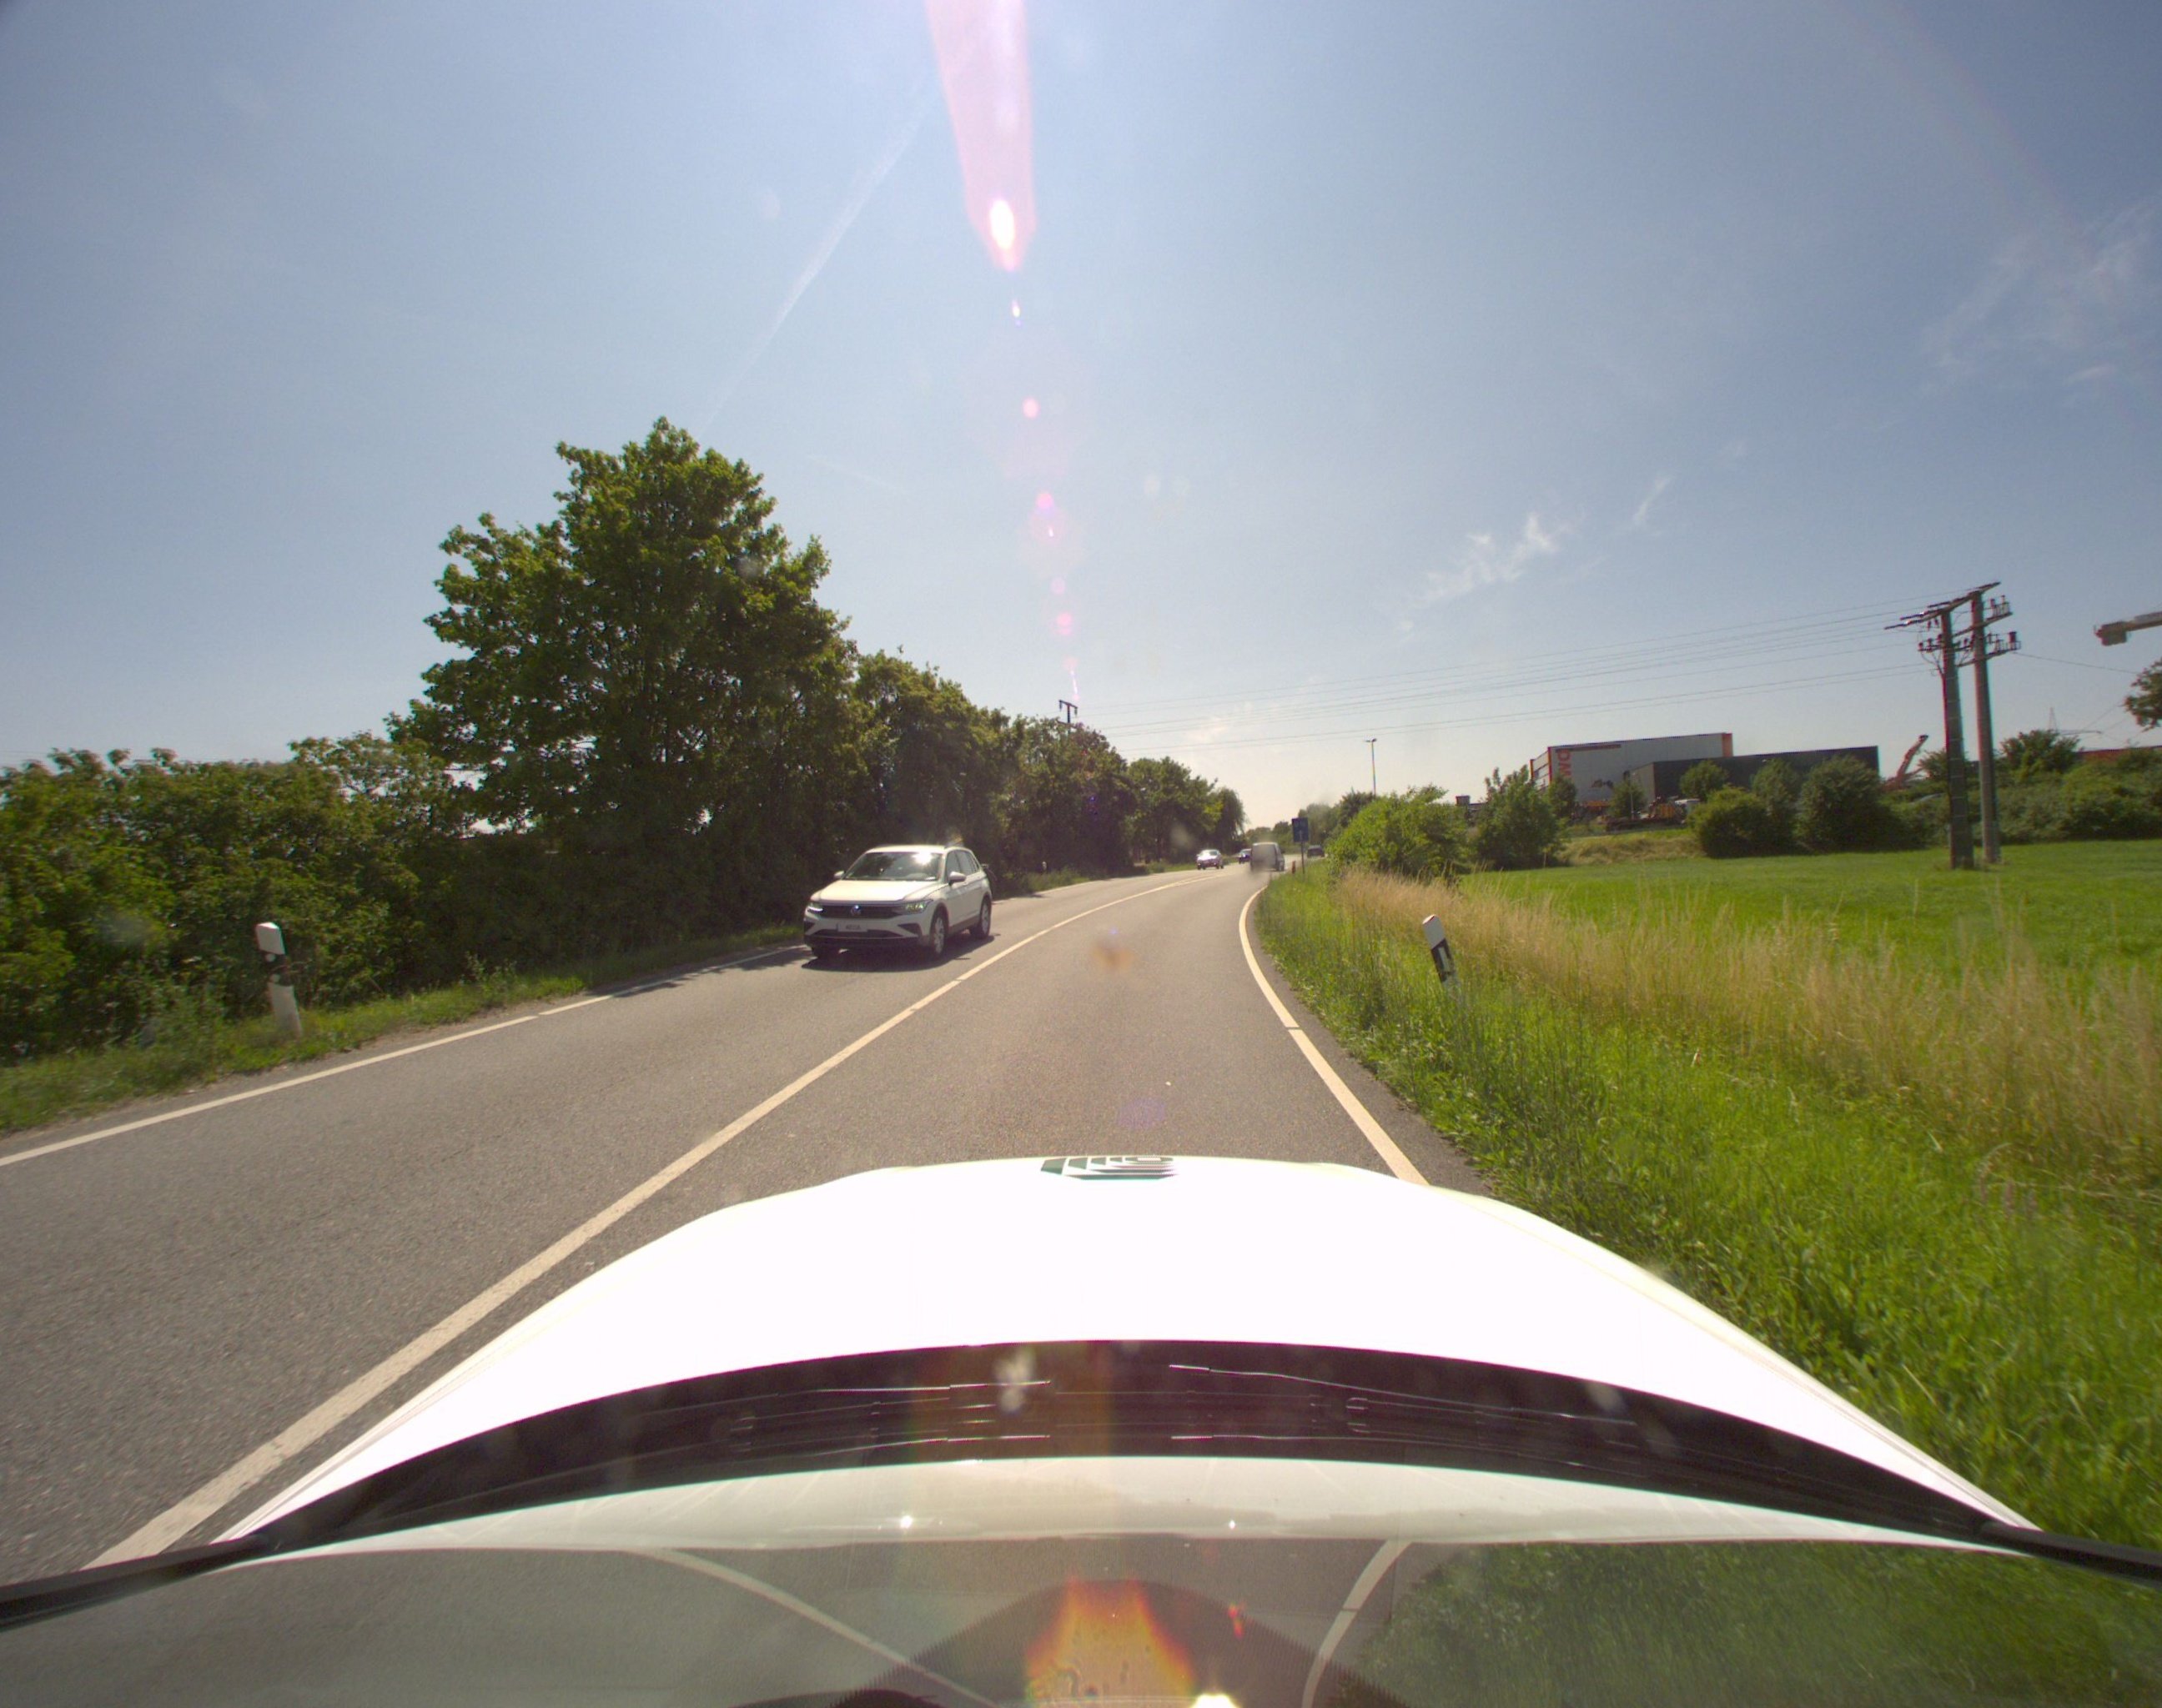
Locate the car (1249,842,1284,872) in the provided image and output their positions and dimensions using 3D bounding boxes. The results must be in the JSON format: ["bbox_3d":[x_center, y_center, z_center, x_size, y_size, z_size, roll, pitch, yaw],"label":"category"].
[{"bbox_3d":[11.579,0.172,50.670,1.889,1.732,3.838,-3,-1,16],"label":"car"}]

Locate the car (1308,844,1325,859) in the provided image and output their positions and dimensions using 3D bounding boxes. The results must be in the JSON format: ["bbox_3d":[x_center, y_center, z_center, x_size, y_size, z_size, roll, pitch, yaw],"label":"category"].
[{"bbox_3d":[28.871,-0.313,99.917,1.791,1.556,4.019,-3,1,18],"label":"car"}]

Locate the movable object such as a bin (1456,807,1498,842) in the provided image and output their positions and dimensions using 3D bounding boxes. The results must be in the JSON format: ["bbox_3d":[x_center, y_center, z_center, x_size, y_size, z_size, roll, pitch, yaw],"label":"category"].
[{"bbox_3d":[64.292,-4.729,132.387,5.667,5.270,3.238,-2,-2,21],"label":"movable object such as a bin"}]

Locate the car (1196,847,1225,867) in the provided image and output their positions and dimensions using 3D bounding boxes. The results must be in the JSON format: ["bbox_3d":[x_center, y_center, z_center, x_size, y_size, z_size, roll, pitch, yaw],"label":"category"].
[{"bbox_3d":[10.670,0.254,67.041,1.727,1.589,4.018,-1,0,18],"label":"car"}]

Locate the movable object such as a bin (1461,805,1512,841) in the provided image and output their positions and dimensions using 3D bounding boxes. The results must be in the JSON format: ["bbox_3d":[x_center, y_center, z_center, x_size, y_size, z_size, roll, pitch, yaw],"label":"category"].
[{"bbox_3d":[61.590,-4.650,123.797,6.534,5.148,3.825,-2,-2,21],"label":"movable object such as a bin"}]

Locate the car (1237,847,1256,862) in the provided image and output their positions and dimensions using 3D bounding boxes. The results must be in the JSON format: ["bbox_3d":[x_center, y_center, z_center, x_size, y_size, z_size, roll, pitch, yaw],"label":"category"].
[{"bbox_3d":[18.417,0.061,90.344,1.719,1.590,3.974,-2,0,16],"label":"car"}]

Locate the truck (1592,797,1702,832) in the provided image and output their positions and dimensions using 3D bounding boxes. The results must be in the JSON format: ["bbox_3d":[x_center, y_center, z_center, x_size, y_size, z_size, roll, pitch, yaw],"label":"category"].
[{"bbox_3d":[57.847,-3.995,83.407,8.729,3.137,3.113,-1,-2,6],"label":"truck"}]

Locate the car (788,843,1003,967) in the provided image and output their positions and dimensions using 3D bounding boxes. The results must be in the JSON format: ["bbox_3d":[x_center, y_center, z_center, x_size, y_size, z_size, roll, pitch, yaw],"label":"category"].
[{"bbox_3d":[-2.678,0.659,13.049,1.845,1.601,4.786,0,0,7],"label":"car"}]
